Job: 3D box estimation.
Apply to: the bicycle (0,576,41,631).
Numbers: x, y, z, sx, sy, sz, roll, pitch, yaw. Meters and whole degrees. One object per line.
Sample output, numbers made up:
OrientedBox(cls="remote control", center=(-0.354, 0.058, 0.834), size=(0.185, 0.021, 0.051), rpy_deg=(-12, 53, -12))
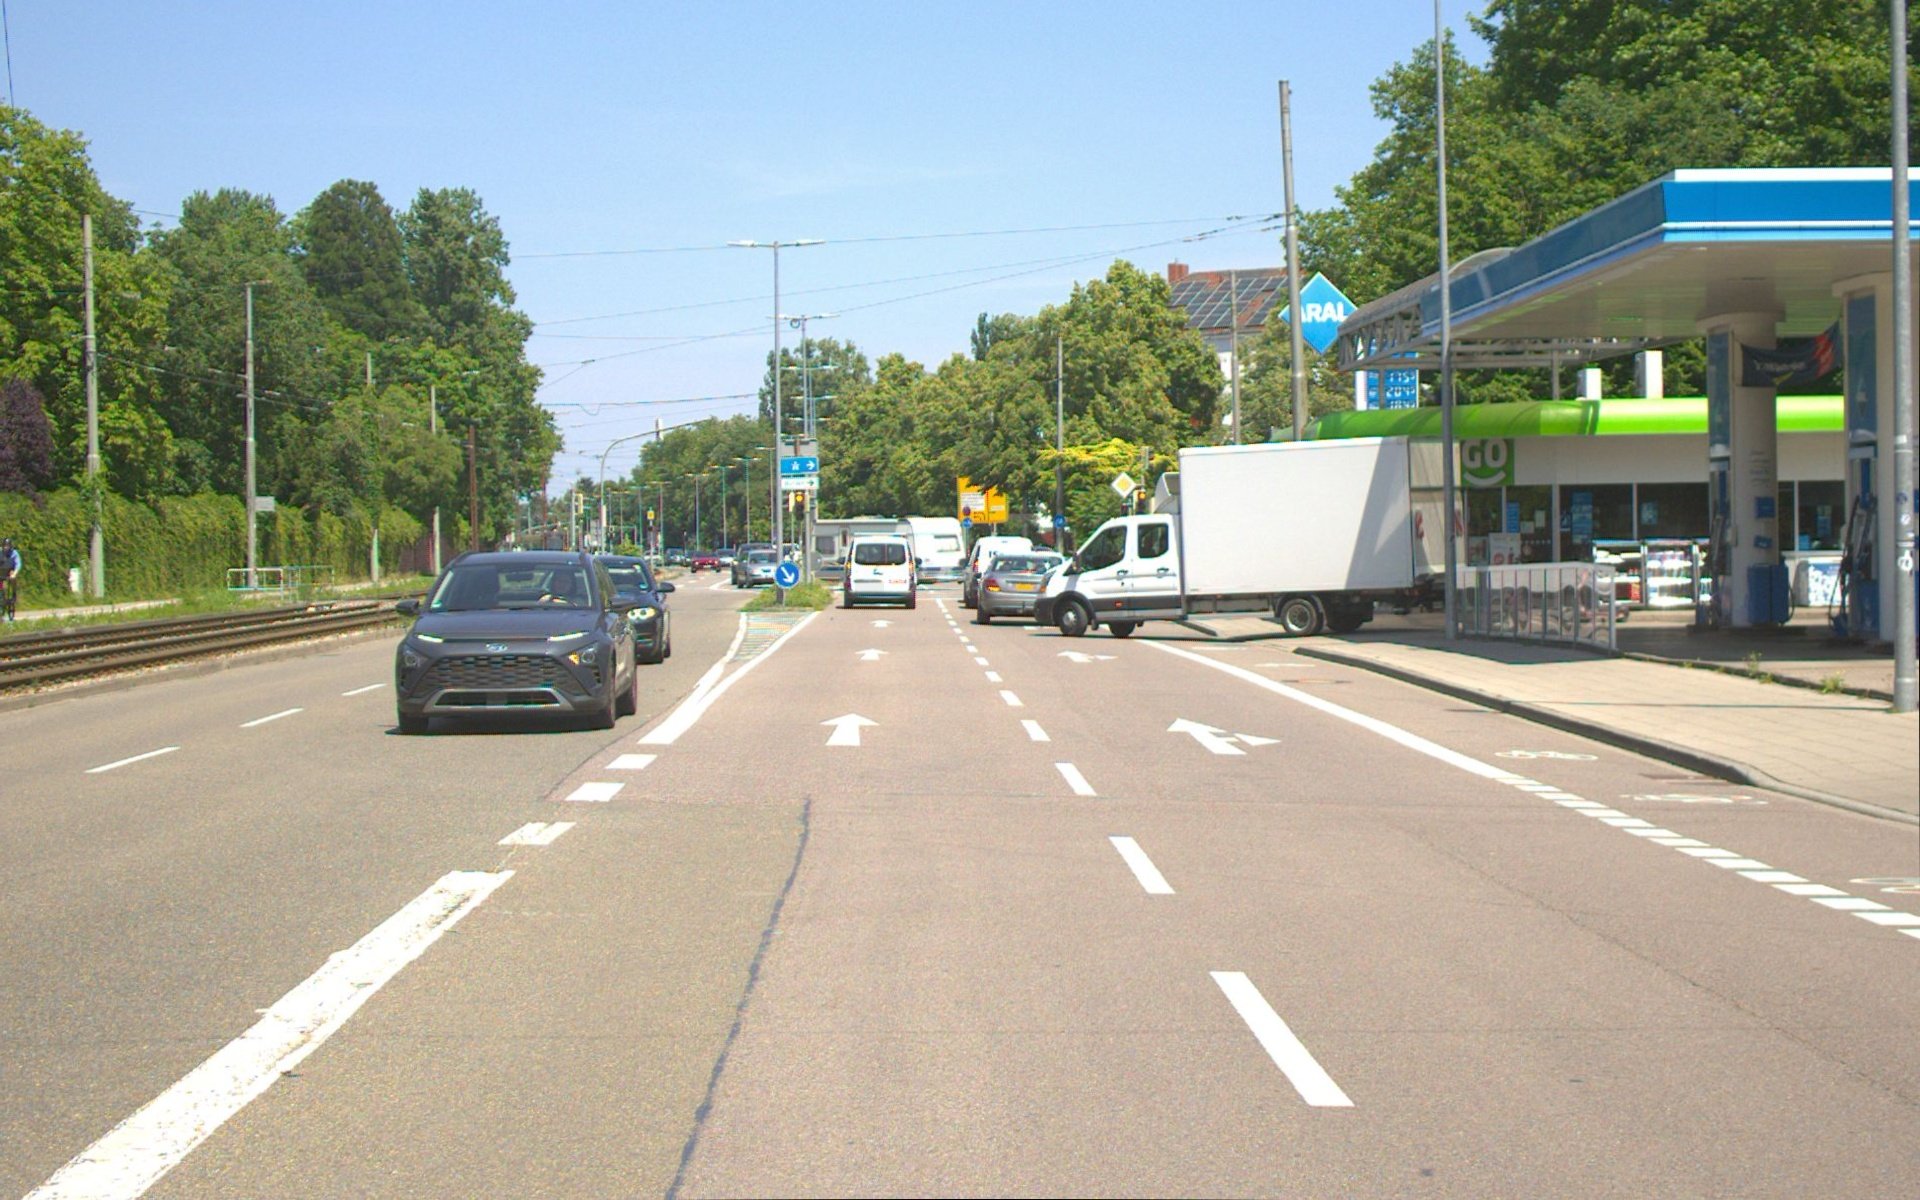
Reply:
OrientedBox(cls="bicycle", center=(-20.401, 0.064, 73.511), size=(0.828, 1.152, 2.685), rpy_deg=(0, 1, -2))

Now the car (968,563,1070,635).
OrientedBox(cls="car", center=(1.184, -0.042, 70.787), size=(1.770, 1.415, 4.001), rpy_deg=(0, 1, -4))

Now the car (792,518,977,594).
OrientedBox(cls="car", center=(-2.603, -1.496, 117.255), size=(6.217, 2.508, 2.698), rpy_deg=(0, 1, 43))

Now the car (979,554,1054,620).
OrientedBox(cls="car", center=(1.247, -0.303, 77.052), size=(1.607, 1.446, 3.521), rpy_deg=(0, 1, 0))

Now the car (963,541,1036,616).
OrientedBox(cls="car", center=(0.970, -0.540, 85.964), size=(1.710, 1.824, 4.014), rpy_deg=(0, 1, -1))

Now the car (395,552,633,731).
OrientedBox(cls="car", center=(-3.756, 0.322, 29.511), size=(1.713, 1.417, 4.142), rpy_deg=(0, 0, -3))

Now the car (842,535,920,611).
OrientedBox(cls="car", center=(-1.962, -0.685, 84.746), size=(1.866, 1.829, 3.849), rpy_deg=(0, 1, -2))

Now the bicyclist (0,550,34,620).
OrientedBox(cls="bicyclist", center=(-20.402, -0.330, 73.433), size=(0.994, 1.481, 1.000), rpy_deg=(0, 1, -2))

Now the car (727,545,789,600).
OrientedBox(cls="car", center=(-7.573, -1.041, 128.672), size=(1.993, 2.007, 4.001), rpy_deg=(0, 1, -8))

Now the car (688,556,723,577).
OrientedBox(cls="car", center=(-16.714, -2.195, 226.315), size=(1.984, 1.354, 4.538), rpy_deg=(0, 1, 0))

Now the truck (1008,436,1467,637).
OrientedBox(cls="truck", center=(4.859, -1.089, 60.946), size=(7.821, 3.380, 2.423), rpy_deg=(0, 1, 30))

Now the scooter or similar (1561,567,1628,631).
OrientedBox(cls="scooter or similar", center=(11.573, -0.020, 62.727), size=(1.135, 1.172, 0.384), rpy_deg=(0, 0, 0))
